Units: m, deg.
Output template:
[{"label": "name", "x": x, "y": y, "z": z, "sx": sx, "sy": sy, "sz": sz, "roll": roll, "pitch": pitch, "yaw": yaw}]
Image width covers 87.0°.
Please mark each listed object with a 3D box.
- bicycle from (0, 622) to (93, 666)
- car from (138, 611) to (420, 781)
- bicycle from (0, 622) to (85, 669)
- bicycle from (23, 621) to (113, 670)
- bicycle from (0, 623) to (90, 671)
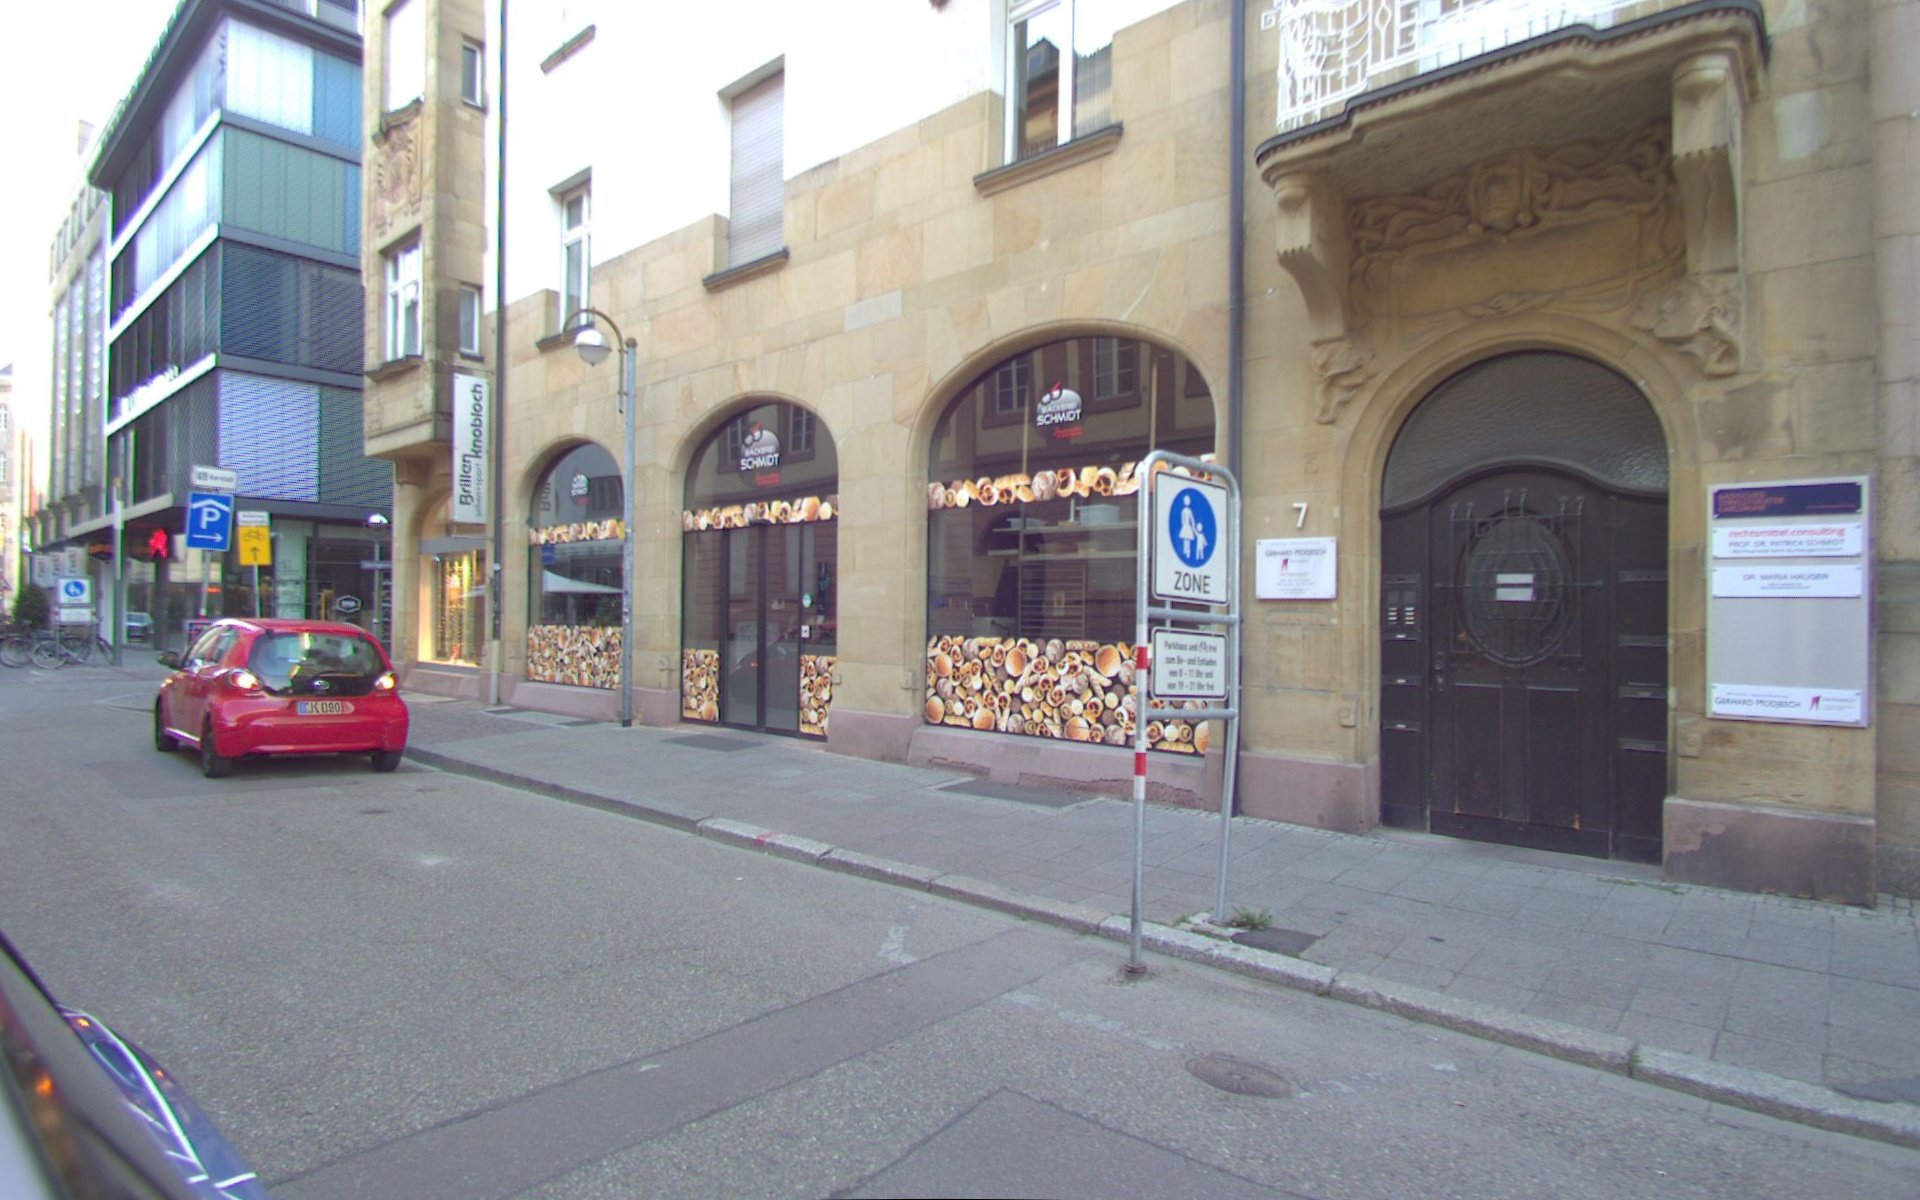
[{"label": "bicycle", "x": -24.771, "y": 1.181, "z": 27.390, "sx": 0.526, "sy": 1.139, "sz": 1.927, "roll": -1, "pitch": -1, "yaw": 42}, {"label": "car", "x": -7.009, "y": 0.892, "z": 10.322, "sx": 3.156, "sy": 1.452, "sz": 1.615, "roll": -1, "pitch": -5, "yaw": 43}, {"label": "bicycle", "x": -23.692, "y": 1.153, "z": 25.888, "sx": 0.620, "sy": 1.139, "sz": 1.927, "roll": -1, "pitch": -1, "yaw": 42}, {"label": "bicycle", "x": -21.619, "y": 1.081, "z": 24.544, "sx": 0.620, "sy": 1.127, "sz": 1.585, "roll": -1, "pitch": -1, "yaw": 43}, {"label": "bicycle", "x": -23.033, "y": 1.150, "z": 25.264, "sx": 0.620, "sy": 1.139, "sz": 1.927, "roll": -1, "pitch": -1, "yaw": 42}]
